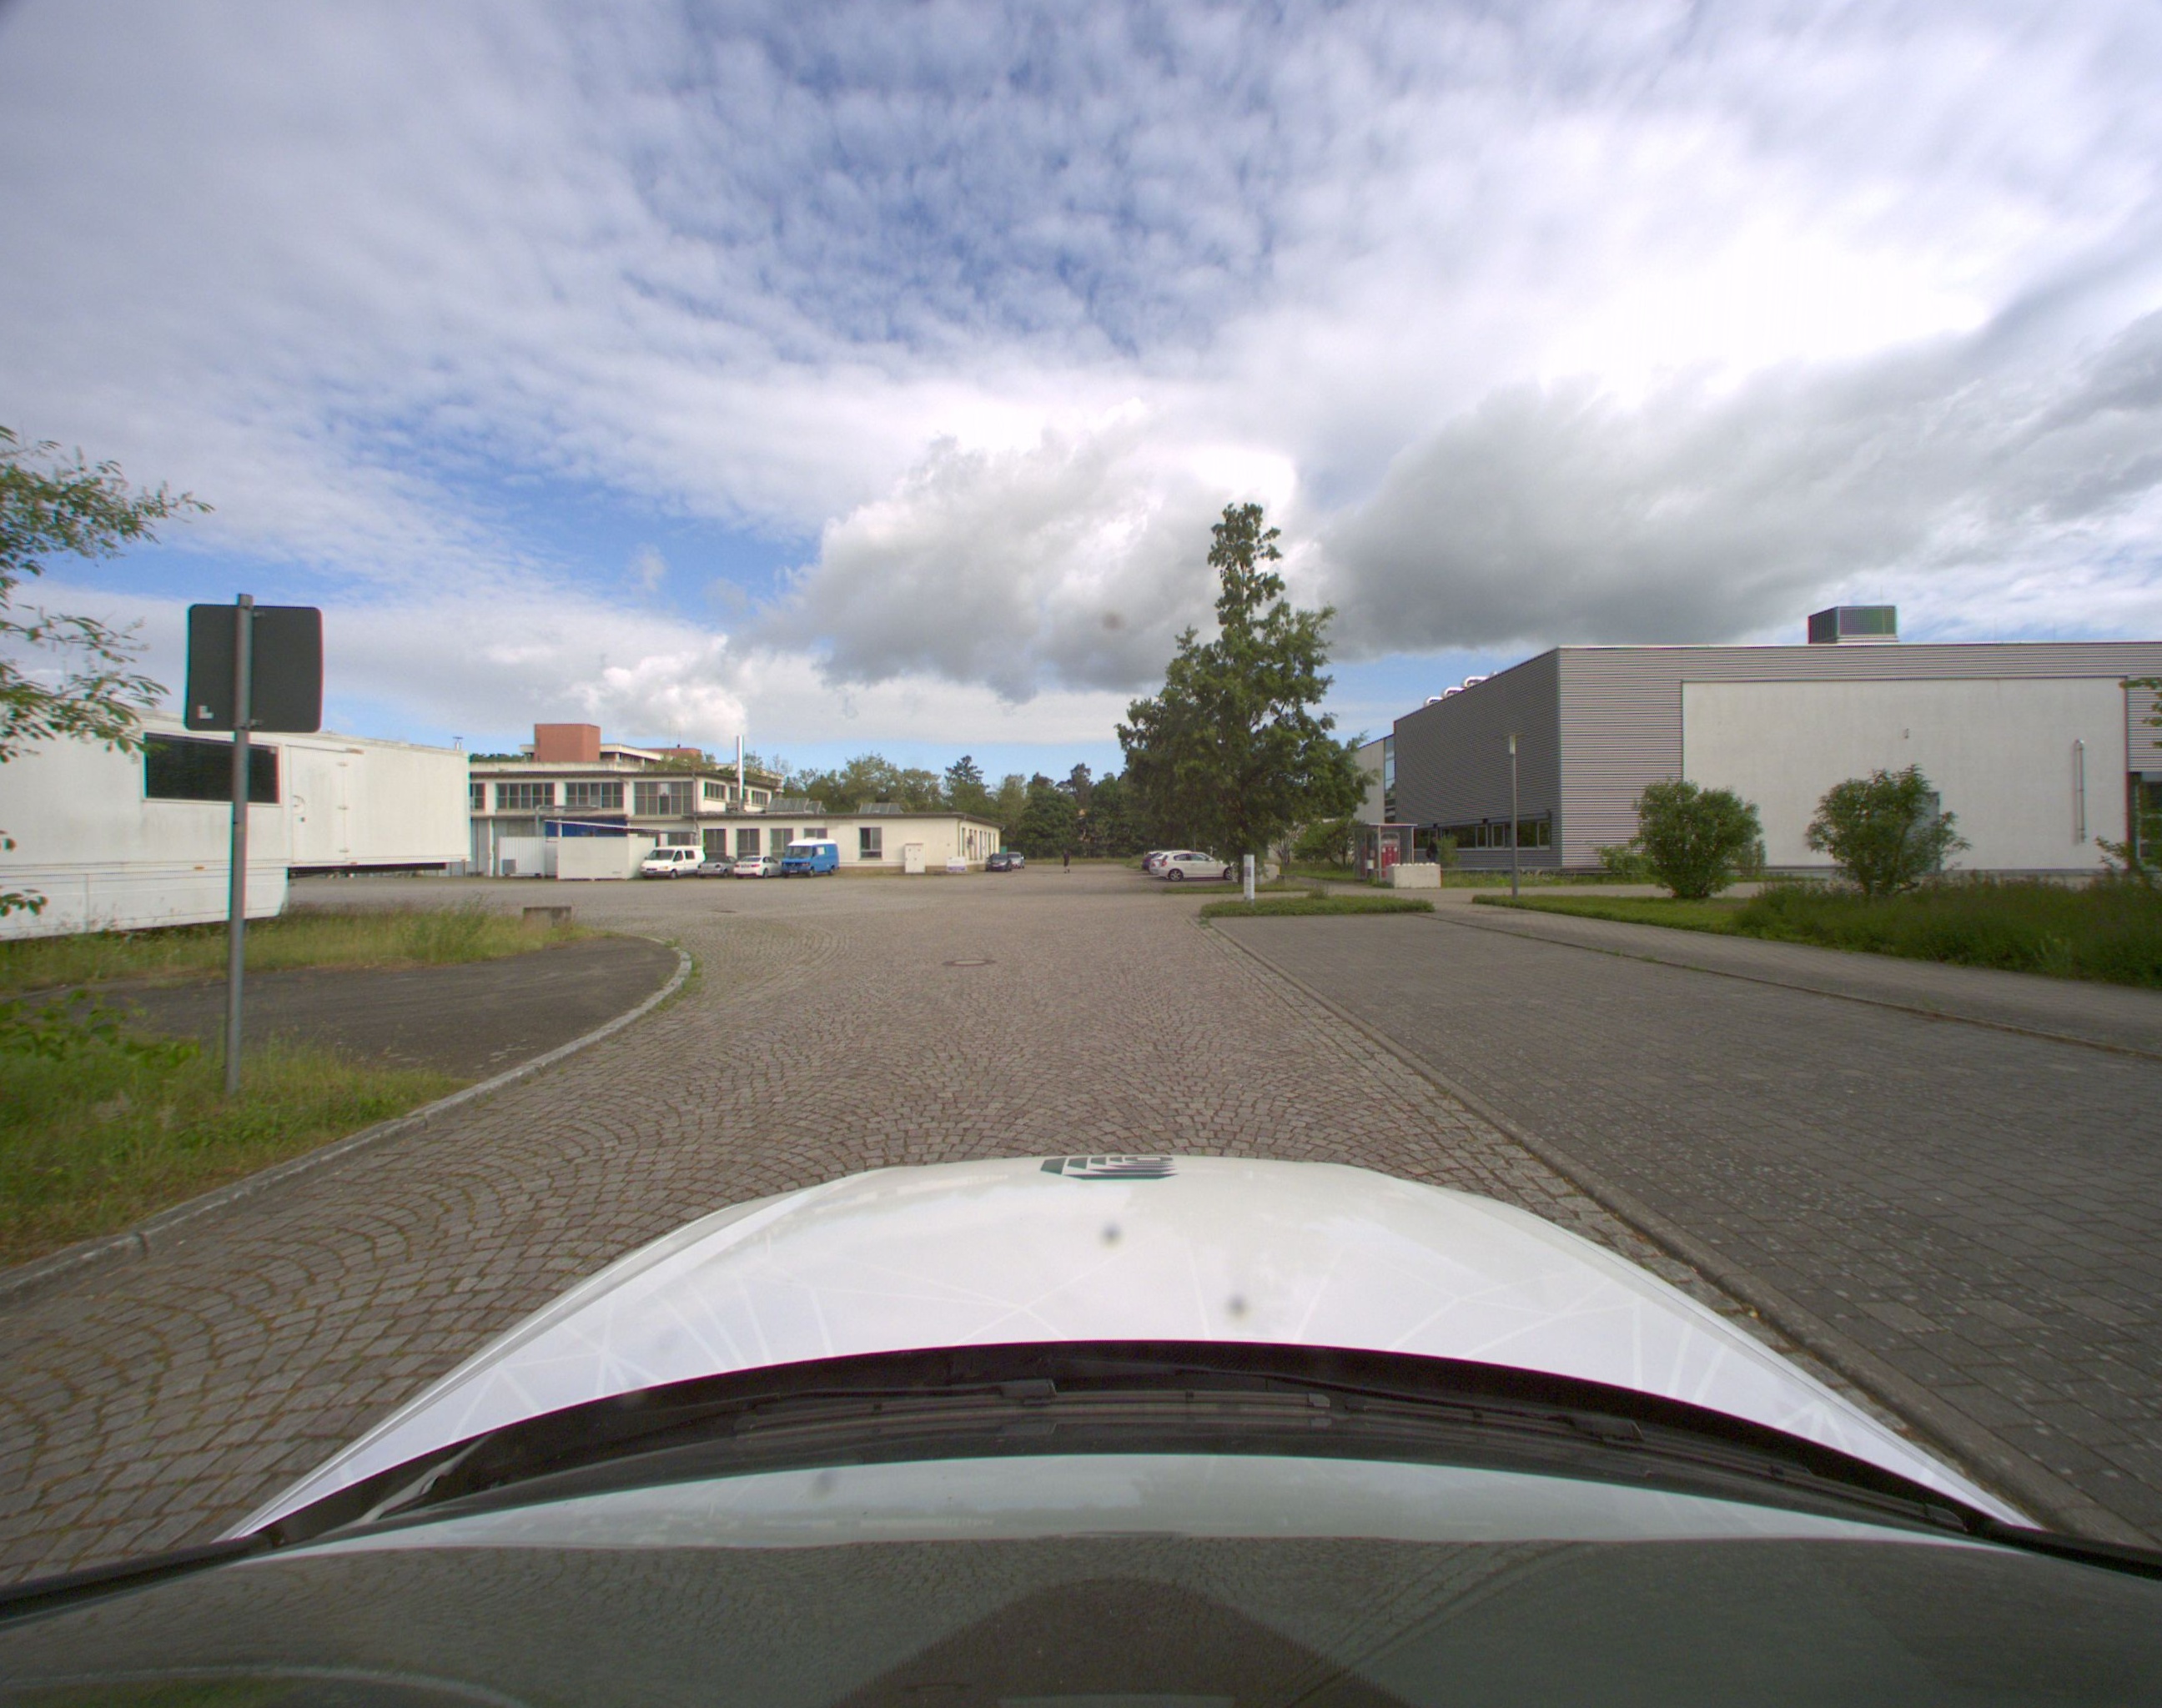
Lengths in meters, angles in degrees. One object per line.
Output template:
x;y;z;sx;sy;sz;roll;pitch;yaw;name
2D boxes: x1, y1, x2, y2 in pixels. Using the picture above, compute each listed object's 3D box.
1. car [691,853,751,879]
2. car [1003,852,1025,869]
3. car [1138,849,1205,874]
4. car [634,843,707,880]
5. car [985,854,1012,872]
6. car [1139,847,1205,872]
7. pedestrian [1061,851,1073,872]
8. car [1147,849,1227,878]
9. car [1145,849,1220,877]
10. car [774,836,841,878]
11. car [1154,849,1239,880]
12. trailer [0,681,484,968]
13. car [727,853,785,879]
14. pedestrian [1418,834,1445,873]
-23.087;0.750;52.441;1.893;1.575;4.003;-1;0;3;car
-6.085;0.558;74.359;1.744;1.454;3.998;-1;0;-1;car
5.523;0.451;50.120;3.972;1.455;1.770;-1;0;1;car
-26.110;0.463;51.996;1.892;2.206;4.788;-1;0;4;car
-6.443;0.661;64.129;1.744;1.364;3.998;-1;0;-1;car
5.922;0.353;53.332;3.977;1.533;1.998;-1;0;-3;car
-1.076;0.566;62.934;0.936;1.568;0.971;-1;0;1;pedestrian
5.457;0.481;42.174;3.972;1.455;1.698;-1;0;1;car
5.586;0.480;45.214;3.972;1.455;1.770;-1;0;1;car
-17.577;0.175;52.672;1.984;2.523;5.625;-1;0;5;car
5.611;0.505;40.003;3.972;1.455;2.001;0;-1;1;car
-15.137;-0.368;13.050;2.645;3.705;10.732;-1;0;4;trailer
-20.454;0.732;51.429;1.893;1.575;4.003;-1;0;3;car
17.325;-0.027;40.276;0.922;1.936;0.847;0;0;-29;pedestrian
